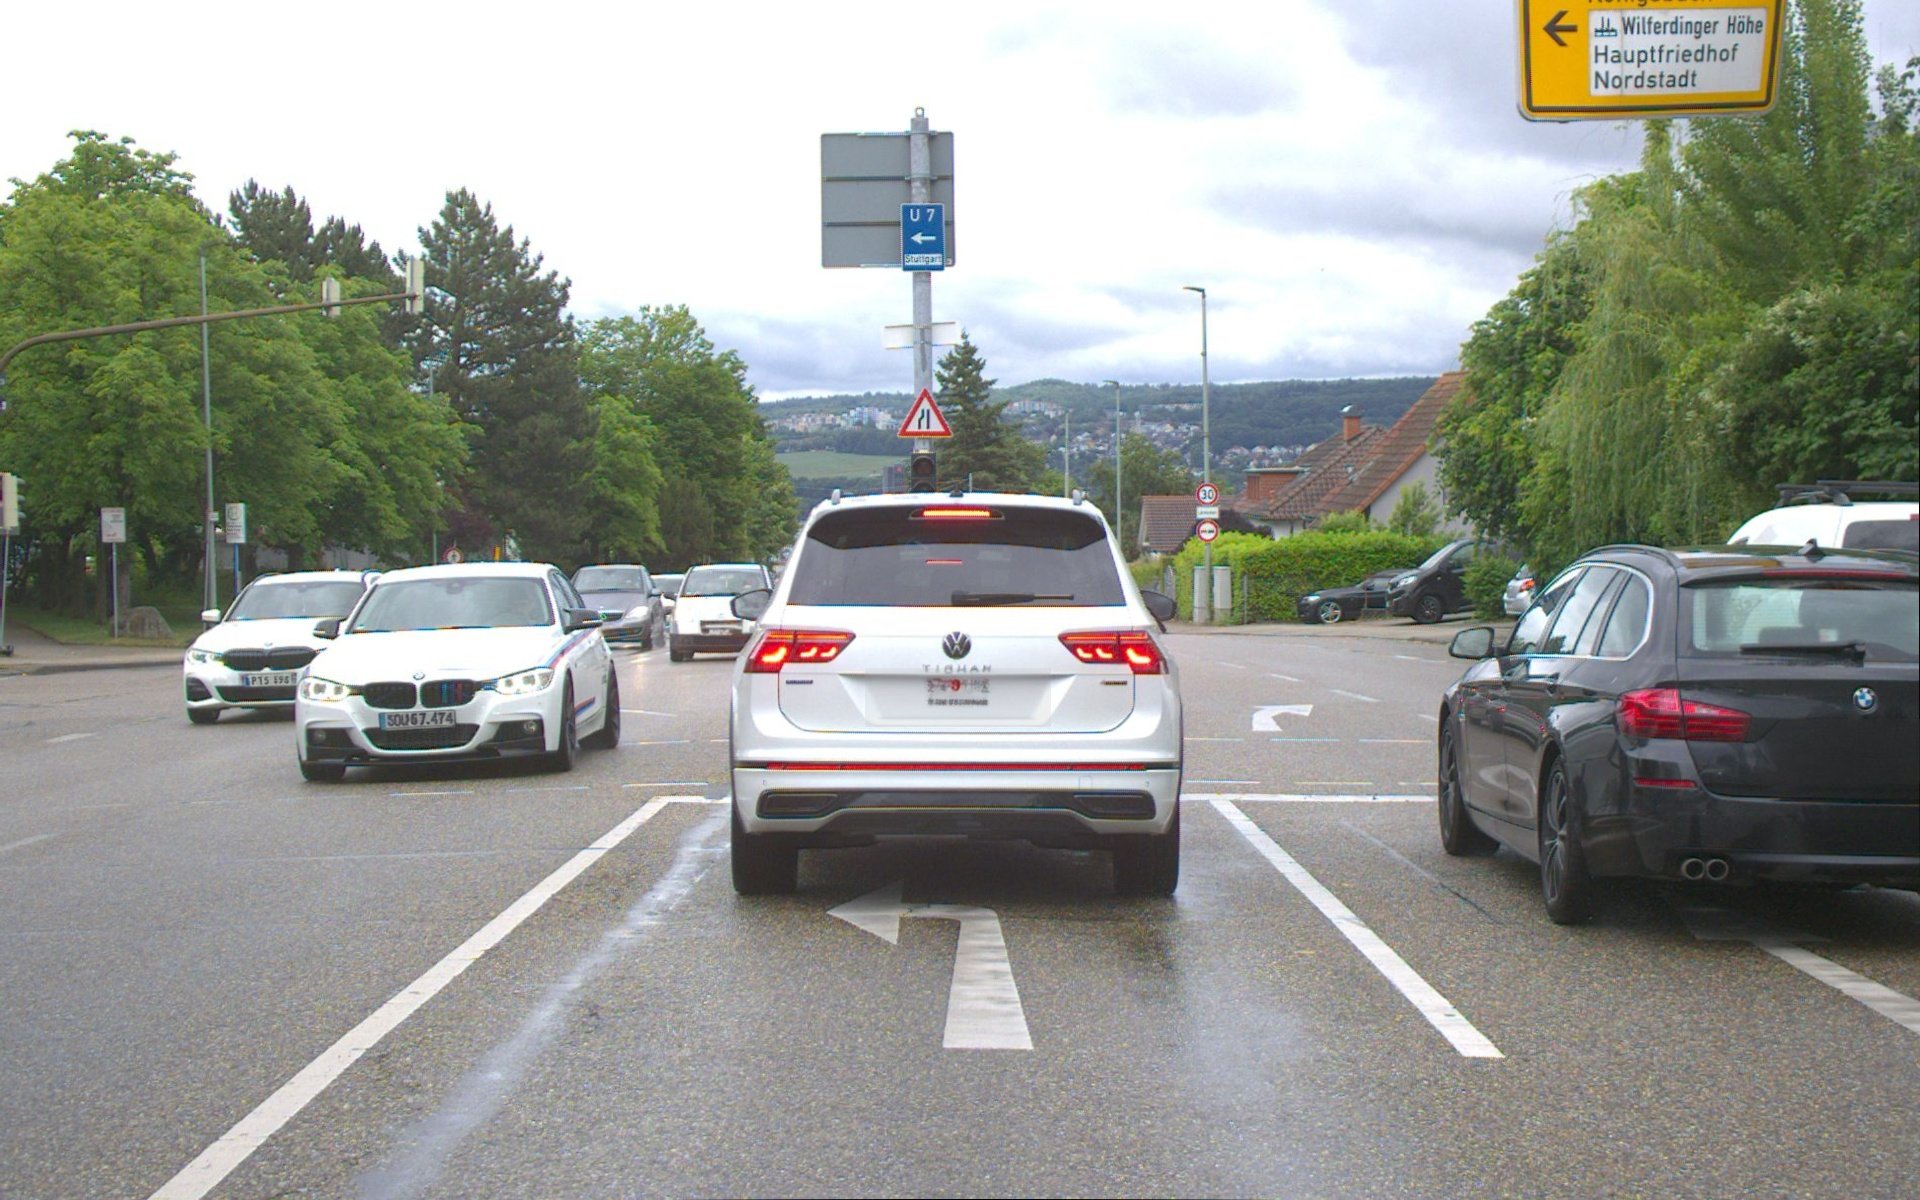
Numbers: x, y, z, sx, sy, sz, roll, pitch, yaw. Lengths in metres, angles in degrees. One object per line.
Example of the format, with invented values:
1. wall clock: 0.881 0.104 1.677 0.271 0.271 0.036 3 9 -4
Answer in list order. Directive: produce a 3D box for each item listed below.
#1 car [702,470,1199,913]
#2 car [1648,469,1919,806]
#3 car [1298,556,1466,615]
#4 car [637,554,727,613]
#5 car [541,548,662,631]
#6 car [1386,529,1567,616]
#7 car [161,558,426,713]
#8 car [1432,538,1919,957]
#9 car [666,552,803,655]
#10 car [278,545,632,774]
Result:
1. car: -0.042 0.337 15.003 1.868 1.668 4.000 0 0 0
2. car: 5.681 0.149 21.939 1.764 1.870 3.806 0 4 0
3. car: 10.315 -0.371 84.208 3.987 1.372 1.585 1 1 4
4. car: -6.340 -0.390 78.674 1.650 1.269 3.621 -1 1 2
5. car: -6.716 -0.220 64.795 1.774 1.453 4.549 -1 1 0
6. car: 11.889 -0.644 79.335 3.987 1.949 1.585 1 1 4
7. car: -6.633 0.307 34.664 1.774 1.380 4.549 -1 1 0
8. car: 3.164 0.506 13.978 1.899 1.436 4.000 1 0 0
9. car: -3.431 0.015 52.962 1.774 1.453 4.549 -1 1 0
10. car: -3.466 0.349 24.352 1.749 1.380 4.411 -2 1 1
